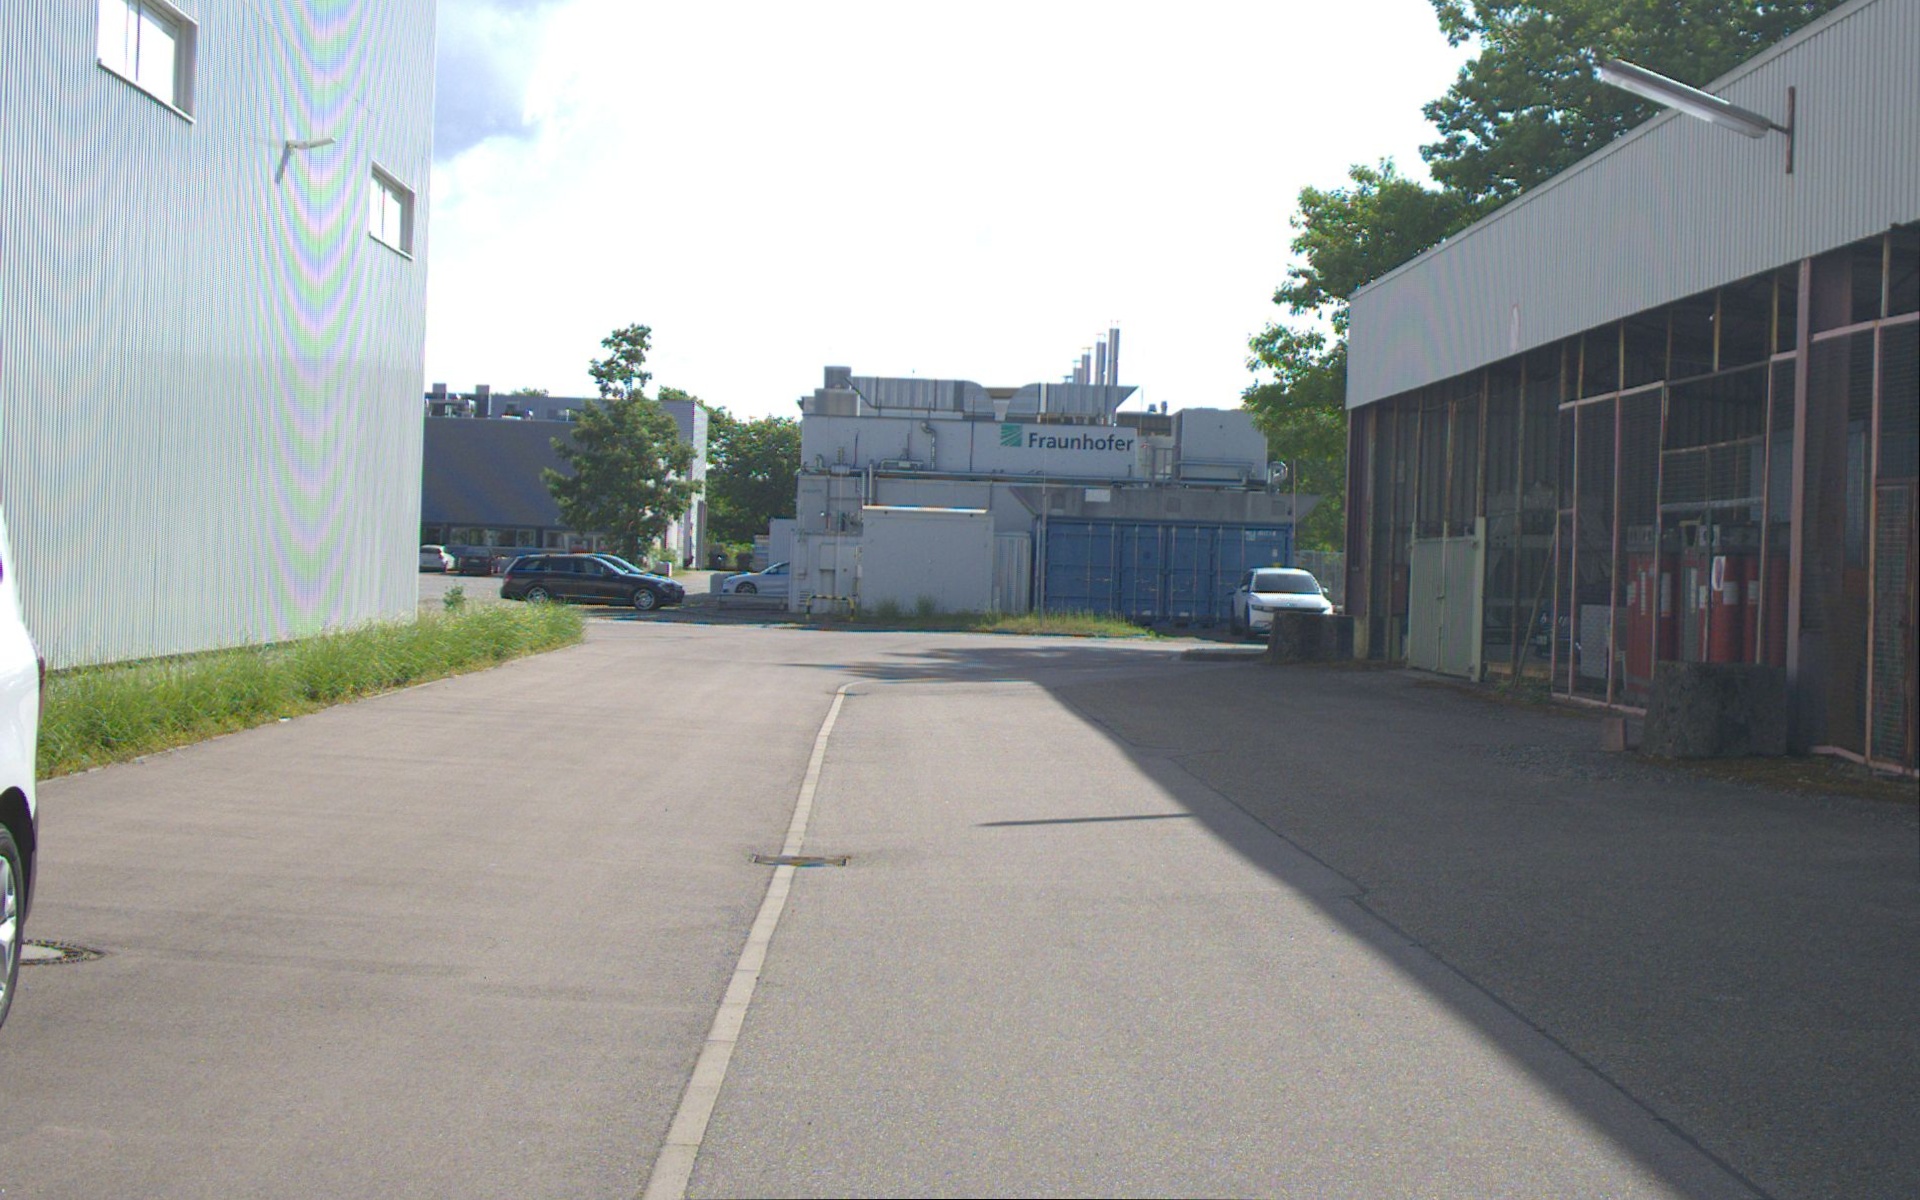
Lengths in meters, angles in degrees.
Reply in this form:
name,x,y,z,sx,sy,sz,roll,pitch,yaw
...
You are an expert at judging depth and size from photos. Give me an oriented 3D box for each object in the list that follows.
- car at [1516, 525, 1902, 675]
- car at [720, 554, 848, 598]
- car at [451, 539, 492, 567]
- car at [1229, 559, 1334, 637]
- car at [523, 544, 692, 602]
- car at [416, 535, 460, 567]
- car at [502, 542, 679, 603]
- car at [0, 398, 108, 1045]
name,x,y,z,sx,sy,sz,roll,pitch,yaw
car,10.322,0.006,47.524,4.767,1.909,2.000,1,0,-9
car,-6.030,-0.814,118.136,4.302,1.452,1.824,1,0,-1
car,-26.316,-2.537,185.321,1.858,1.489,4.030,0,0,-3
car,7.255,-0.072,77.950,1.979,1.597,4.377,0,2,0
car,-9.609,-0.735,93.838,4.447,1.526,1.824,1,0,-1
car,-28.425,-2.669,187.129,1.965,1.706,4.030,0,0,-3
car,-9.673,-0.719,90.190,4.447,1.526,1.824,1,0,-1
car,-3.522,0.310,8.308,1.783,1.809,4.602,3,0,-1
